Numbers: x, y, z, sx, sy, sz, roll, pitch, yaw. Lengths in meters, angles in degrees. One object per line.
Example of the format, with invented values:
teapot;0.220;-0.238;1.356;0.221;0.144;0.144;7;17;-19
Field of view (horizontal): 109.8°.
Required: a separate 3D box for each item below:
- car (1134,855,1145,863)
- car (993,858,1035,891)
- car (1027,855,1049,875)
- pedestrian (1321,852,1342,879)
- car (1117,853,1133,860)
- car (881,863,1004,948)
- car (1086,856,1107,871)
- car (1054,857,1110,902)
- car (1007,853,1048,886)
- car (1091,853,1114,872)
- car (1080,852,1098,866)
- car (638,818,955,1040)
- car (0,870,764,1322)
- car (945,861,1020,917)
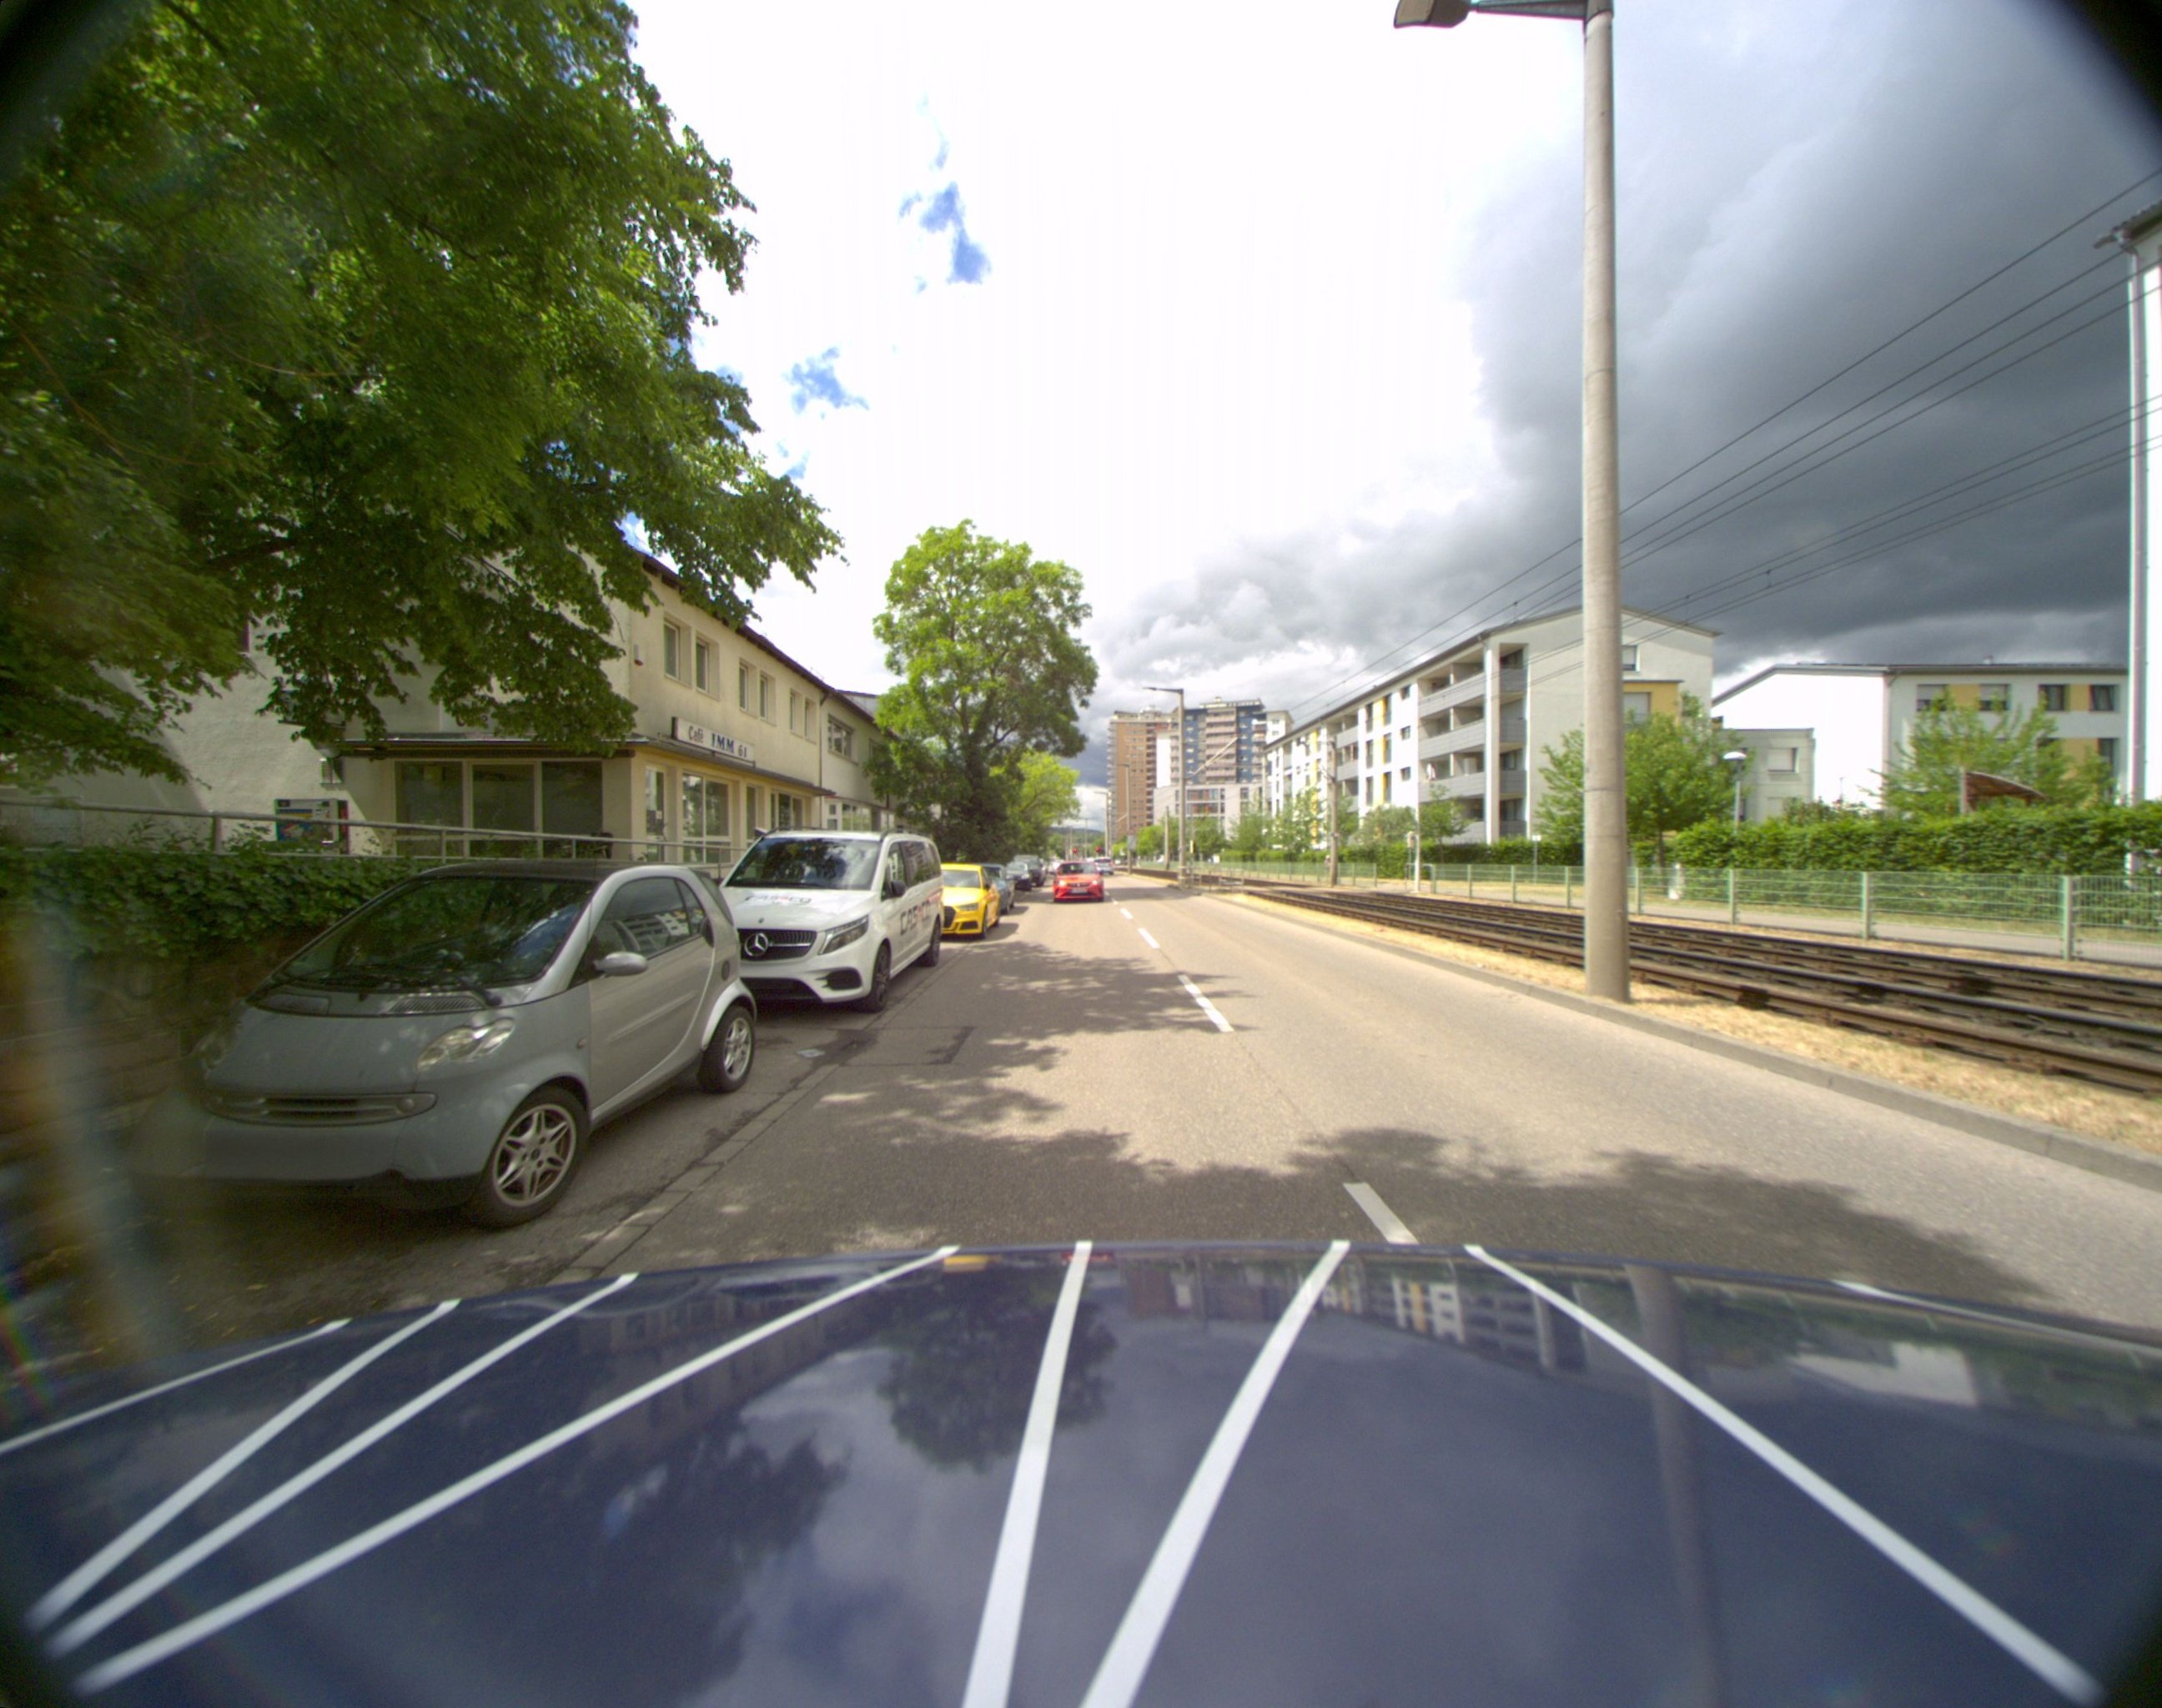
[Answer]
car;12.450;1.055;162.398;1.894;1.530;3.803;-1;0;-1
car;-3.204;0.961;37.209;1.839;1.497;4.241;0;0;-2
car;-3.826;0.956;68.191;1.842;1.634;4.428;-1;0;-2
pedestrian;13.647;0.630;41.442;0.798;1.474;0.995;-1;0;-2
car;11.976;0.692;206.028;4.506;1.914;1.877;-1;0;-43
car;-2.675;0.945;15.679;1.759;1.434;4.340;1;0;0
car;1.592;0.972;78.567;1.822;1.494;4.836;-2;0;-3
car;-0.012;0.849;27.118;1.792;1.387;4.241;-2;0;-1
car;-2.988;0.826;43.398;2.020;1.778;5.075;0;0;0
car;1.912;0.747;68.951;1.822;1.604;4.600;-2;0;-2
car;1.004;0.640;94.289;1.863;1.680;4.432;-1;0;-4
car;-2.964;0.662;9.547;1.919;1.947;5.744;0;0;-1
car;-3.070;0.891;4.107;1.517;1.525;2.846;1;0;0
car;-2.792;0.954;22.384;1.760;1.434;4.492;0;0;-2
